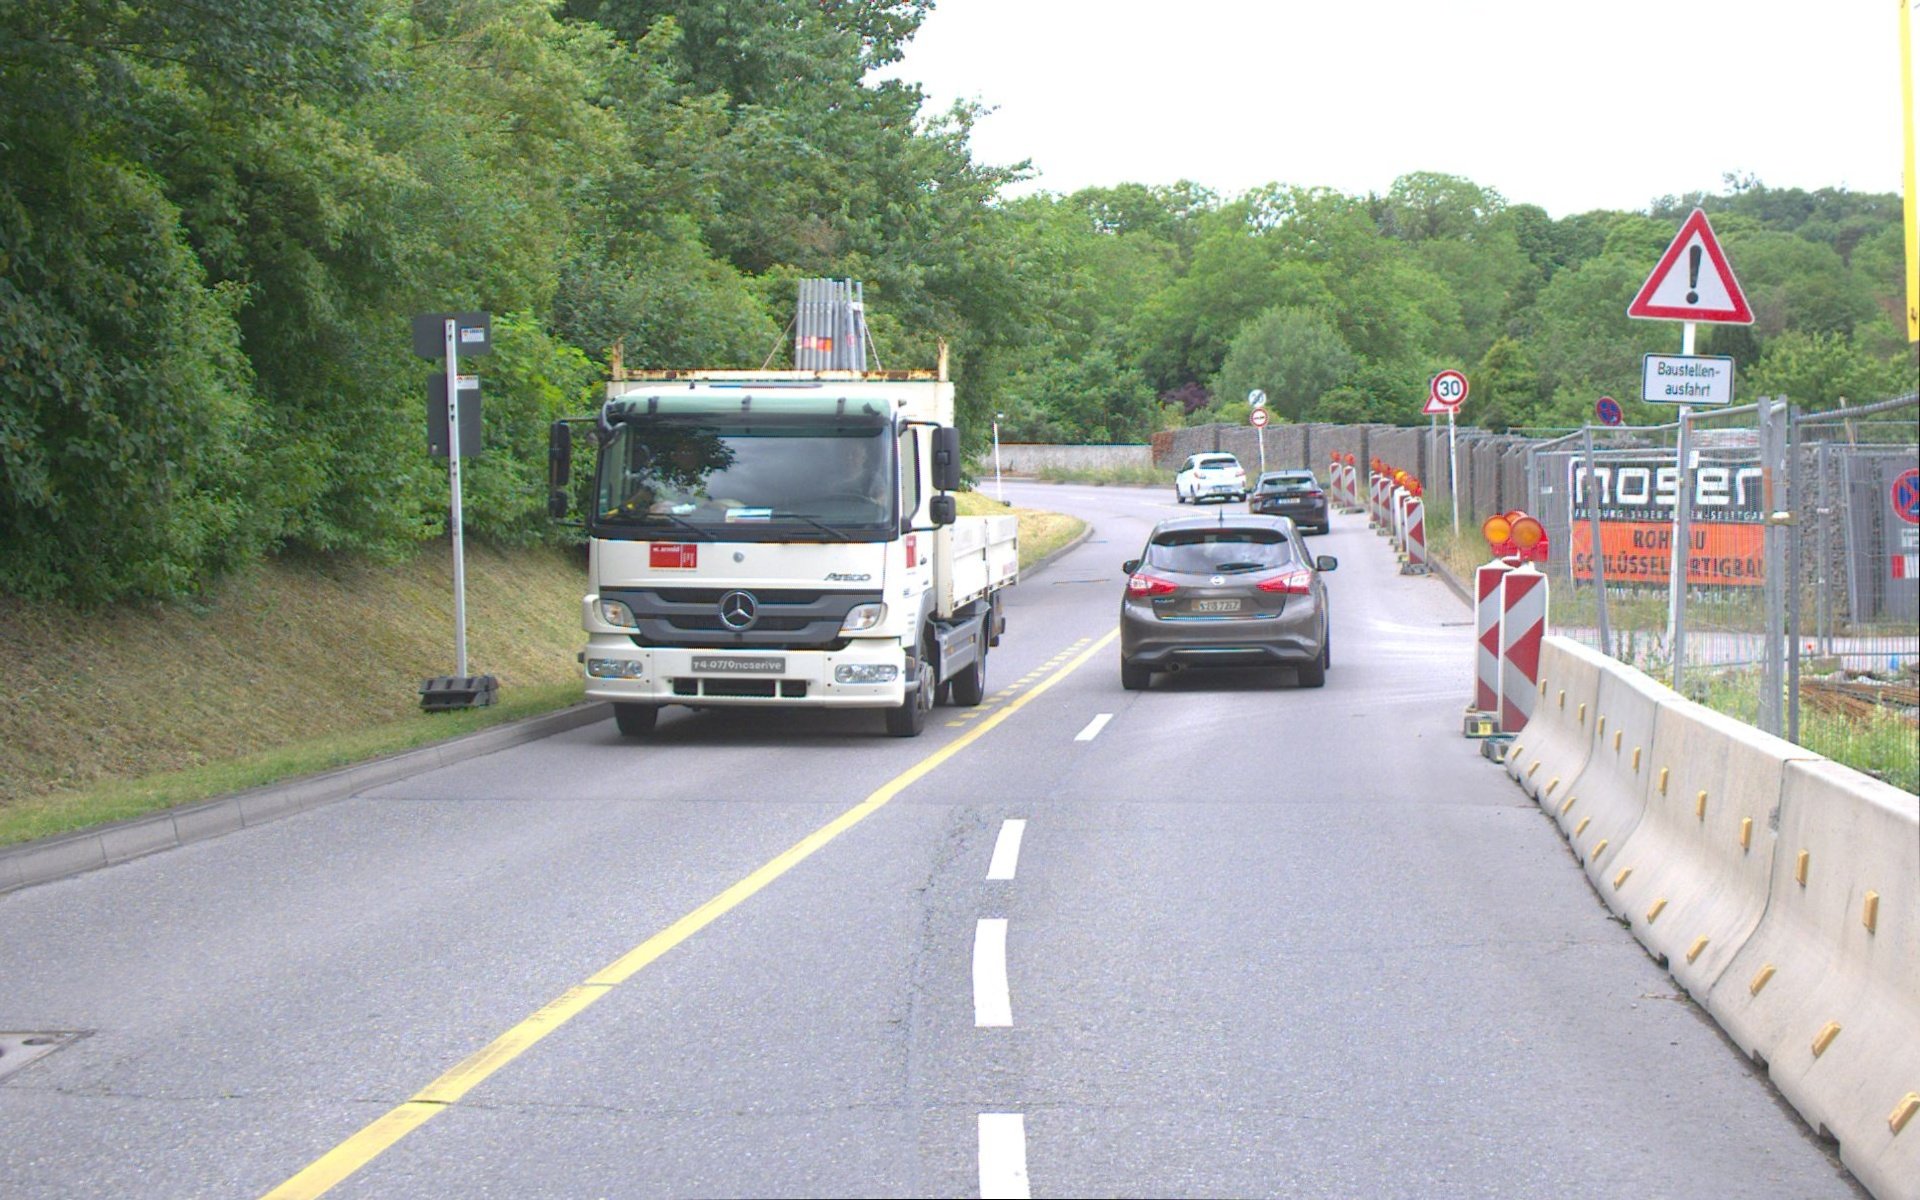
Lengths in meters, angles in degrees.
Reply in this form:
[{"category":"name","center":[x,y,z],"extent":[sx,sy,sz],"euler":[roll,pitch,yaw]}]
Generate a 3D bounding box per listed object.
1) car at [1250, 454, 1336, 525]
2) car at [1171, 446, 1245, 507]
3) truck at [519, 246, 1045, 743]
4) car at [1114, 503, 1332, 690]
[{"category":"car","center":[7.580,-2.492,78.093],"extent":[1.820,1.546,3.787],"euler":[0,1,7]},{"category":"car","center":[7.443,-3.699,103.470],"extent":[1.711,1.669,4.000],"euler":[-2,0,-3]},{"category":"truck","center":[-1.112,-0.877,27.320],"extent":[2.820,3.324,8.379],"euler":[0,2,7]},{"category":"car","center":[2.450,-0.087,31.269],"extent":[1.798,1.546,3.999],"euler":[1,2,7]}]
